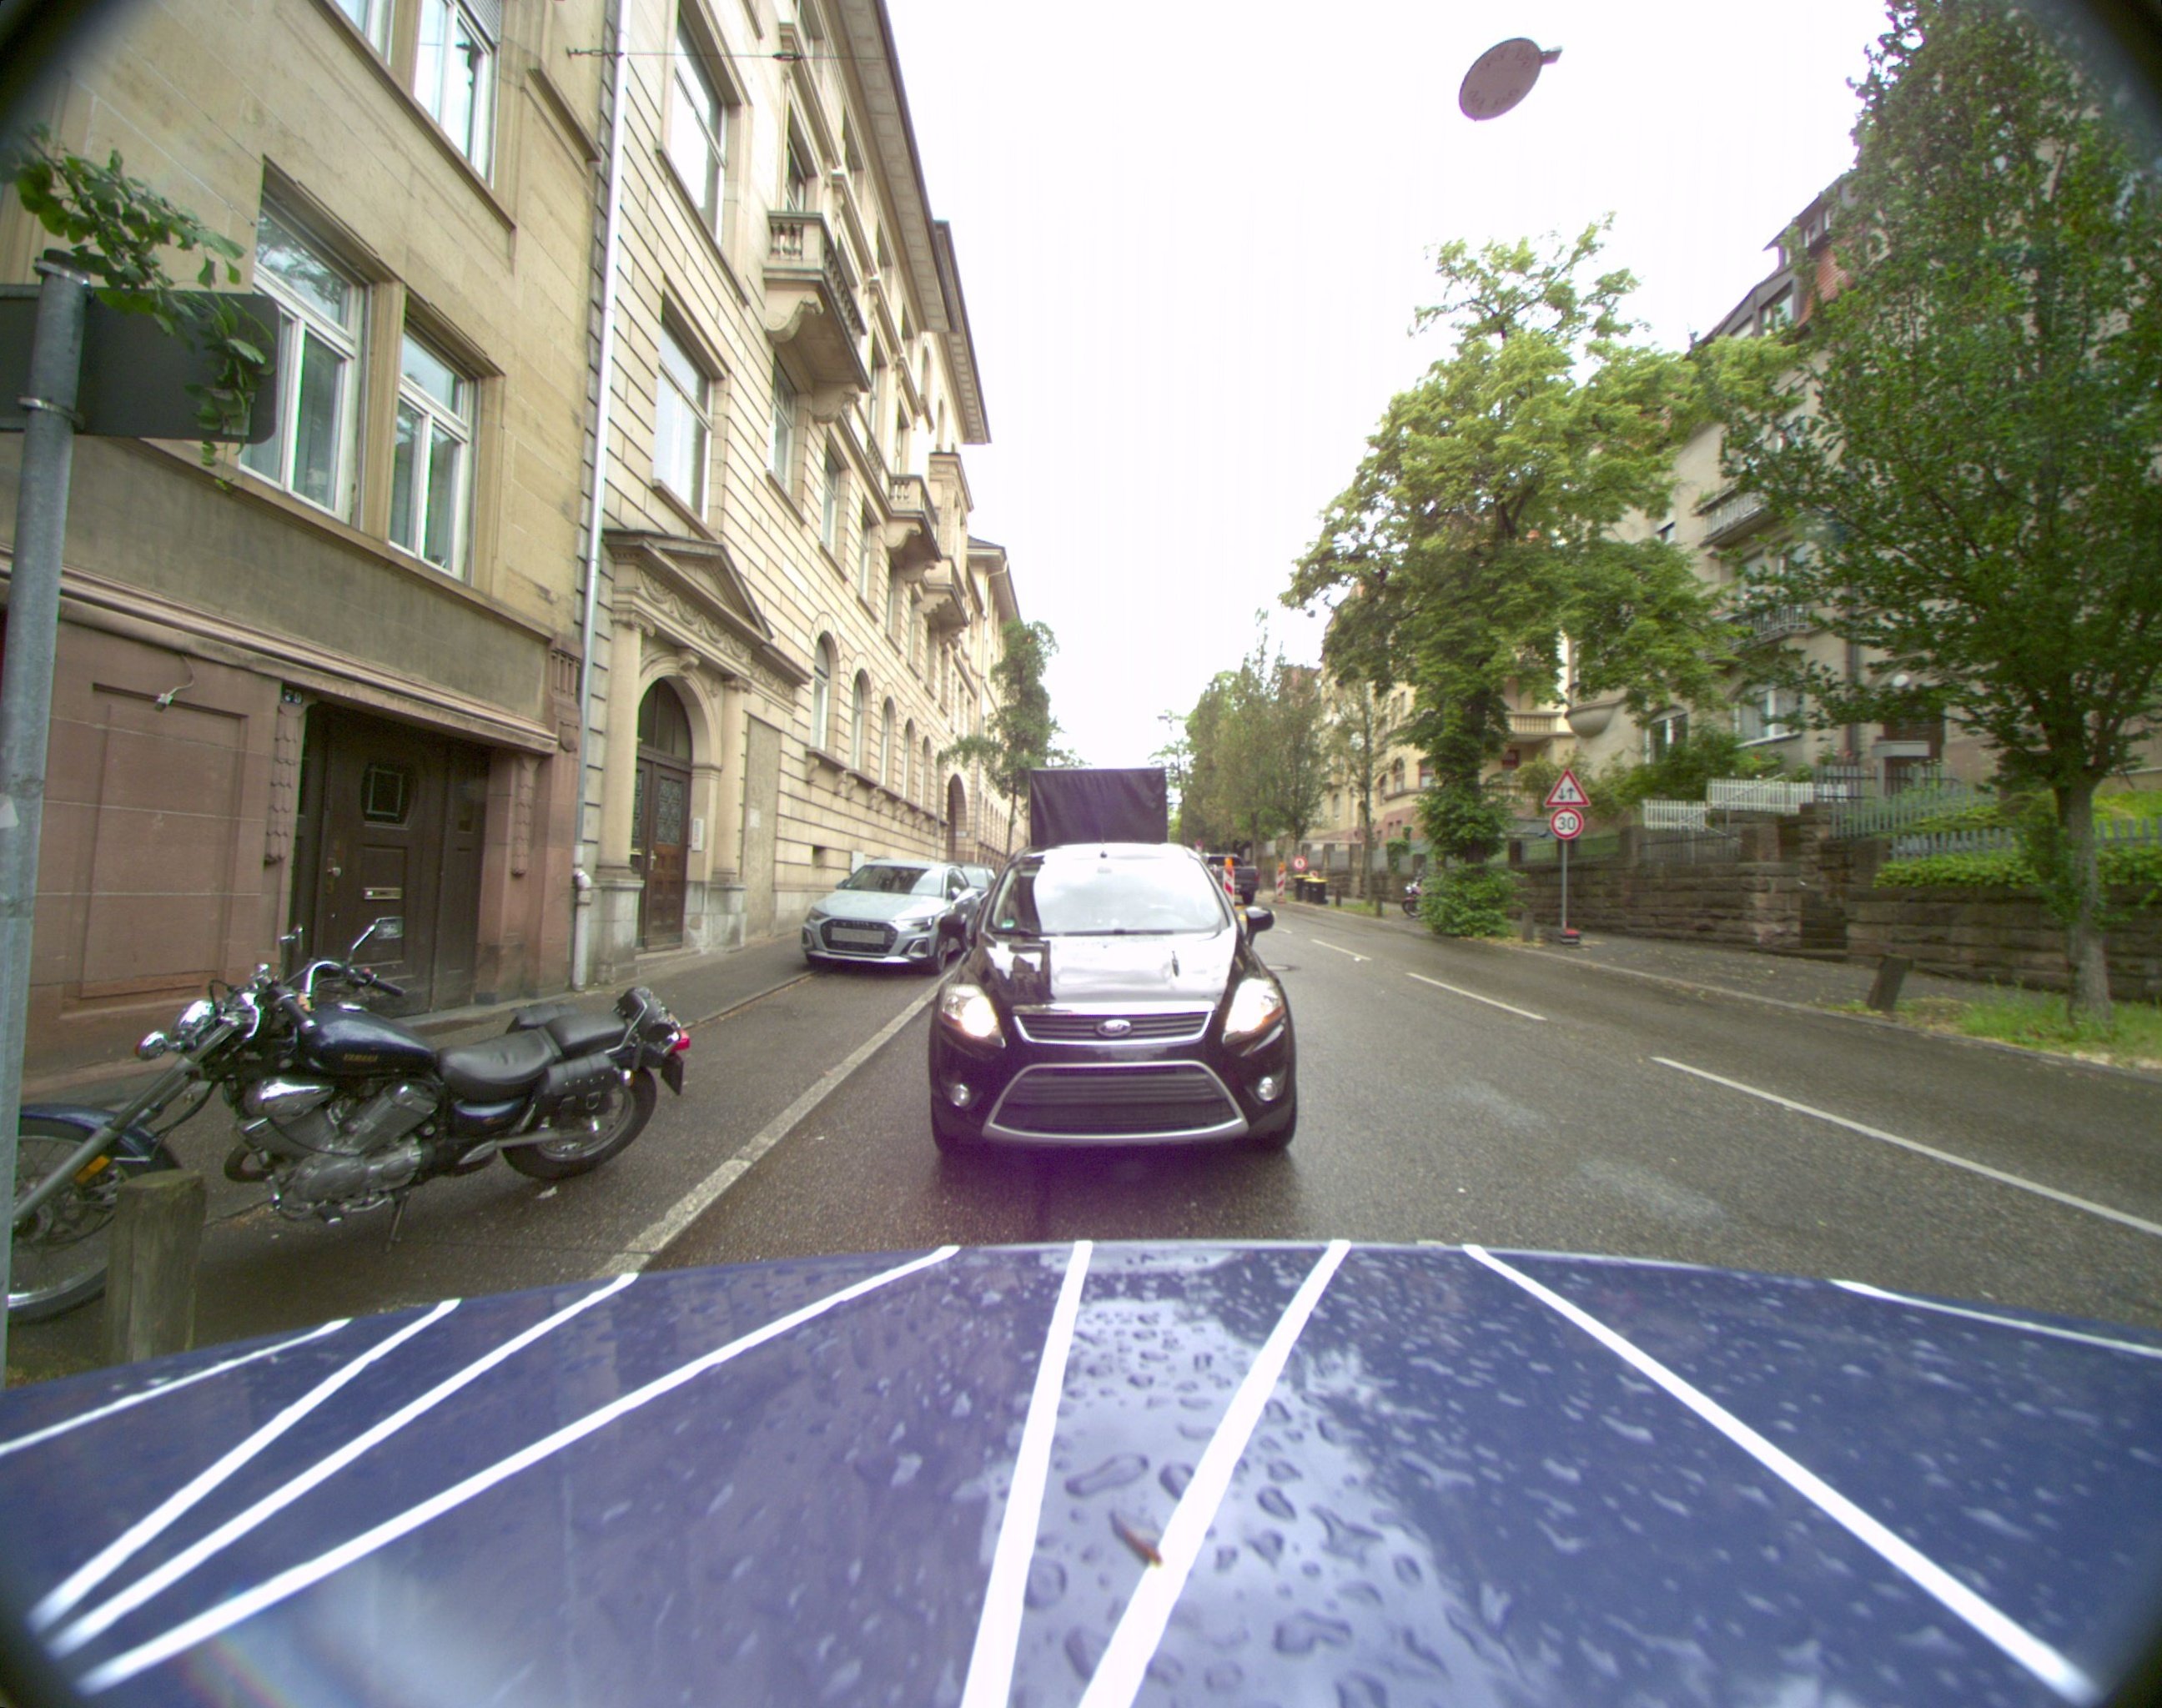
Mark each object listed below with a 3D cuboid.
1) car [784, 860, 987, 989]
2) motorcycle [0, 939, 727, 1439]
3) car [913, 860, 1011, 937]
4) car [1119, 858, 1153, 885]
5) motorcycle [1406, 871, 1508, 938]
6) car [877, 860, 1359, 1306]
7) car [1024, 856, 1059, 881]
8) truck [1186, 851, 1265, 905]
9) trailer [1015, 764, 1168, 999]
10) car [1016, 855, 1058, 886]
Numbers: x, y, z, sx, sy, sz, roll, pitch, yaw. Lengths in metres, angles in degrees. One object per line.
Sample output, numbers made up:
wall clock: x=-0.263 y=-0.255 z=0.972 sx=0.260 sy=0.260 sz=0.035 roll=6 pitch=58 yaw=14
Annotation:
car: x=-2.634 y=0.876 z=11.251 sx=1.794 sy=1.444 sz=4.039 roll=3 pitch=0 yaw=1
motorcycle: x=-2.609 y=0.996 z=2.809 sx=0.523 sy=1.236 sz=2.282 roll=3 pitch=-1 yaw=39
car: x=-2.523 y=0.891 z=16.731 sx=1.495 sy=1.440 sz=3.181 roll=3 pitch=0 yaw=1
car: x=3.254 y=1.029 z=45.595 sx=1.670 sy=1.463 sz=3.656 roll=3 pitch=0 yaw=-1
motorcycle: x=8.894 y=1.134 z=18.197 sx=0.802 sy=1.406 sz=3.061 roll=-2 pitch=0 yaw=-2
car: x=0.195 y=0.889 z=5.146 sx=1.823 sy=1.662 sz=4.522 roll=0 pitch=0 yaw=1
car: x=-2.619 y=0.964 z=51.105 sx=1.910 sy=1.502 sz=4.318 roll=3 pitch=0 yaw=1
truck: x=5.481 y=0.883 z=29.502 sx=2.075 sy=1.825 sz=5.154 roll=2 pitch=0 yaw=1
trailer: x=0.126 y=0.308 z=11.303 sx=1.783 sy=2.744 sz=4.816 roll=0 pitch=1 yaw=0
car: x=-2.398 y=0.887 z=42.459 sx=1.910 sy=1.502 sz=4.318 roll=3 pitch=0 yaw=1
